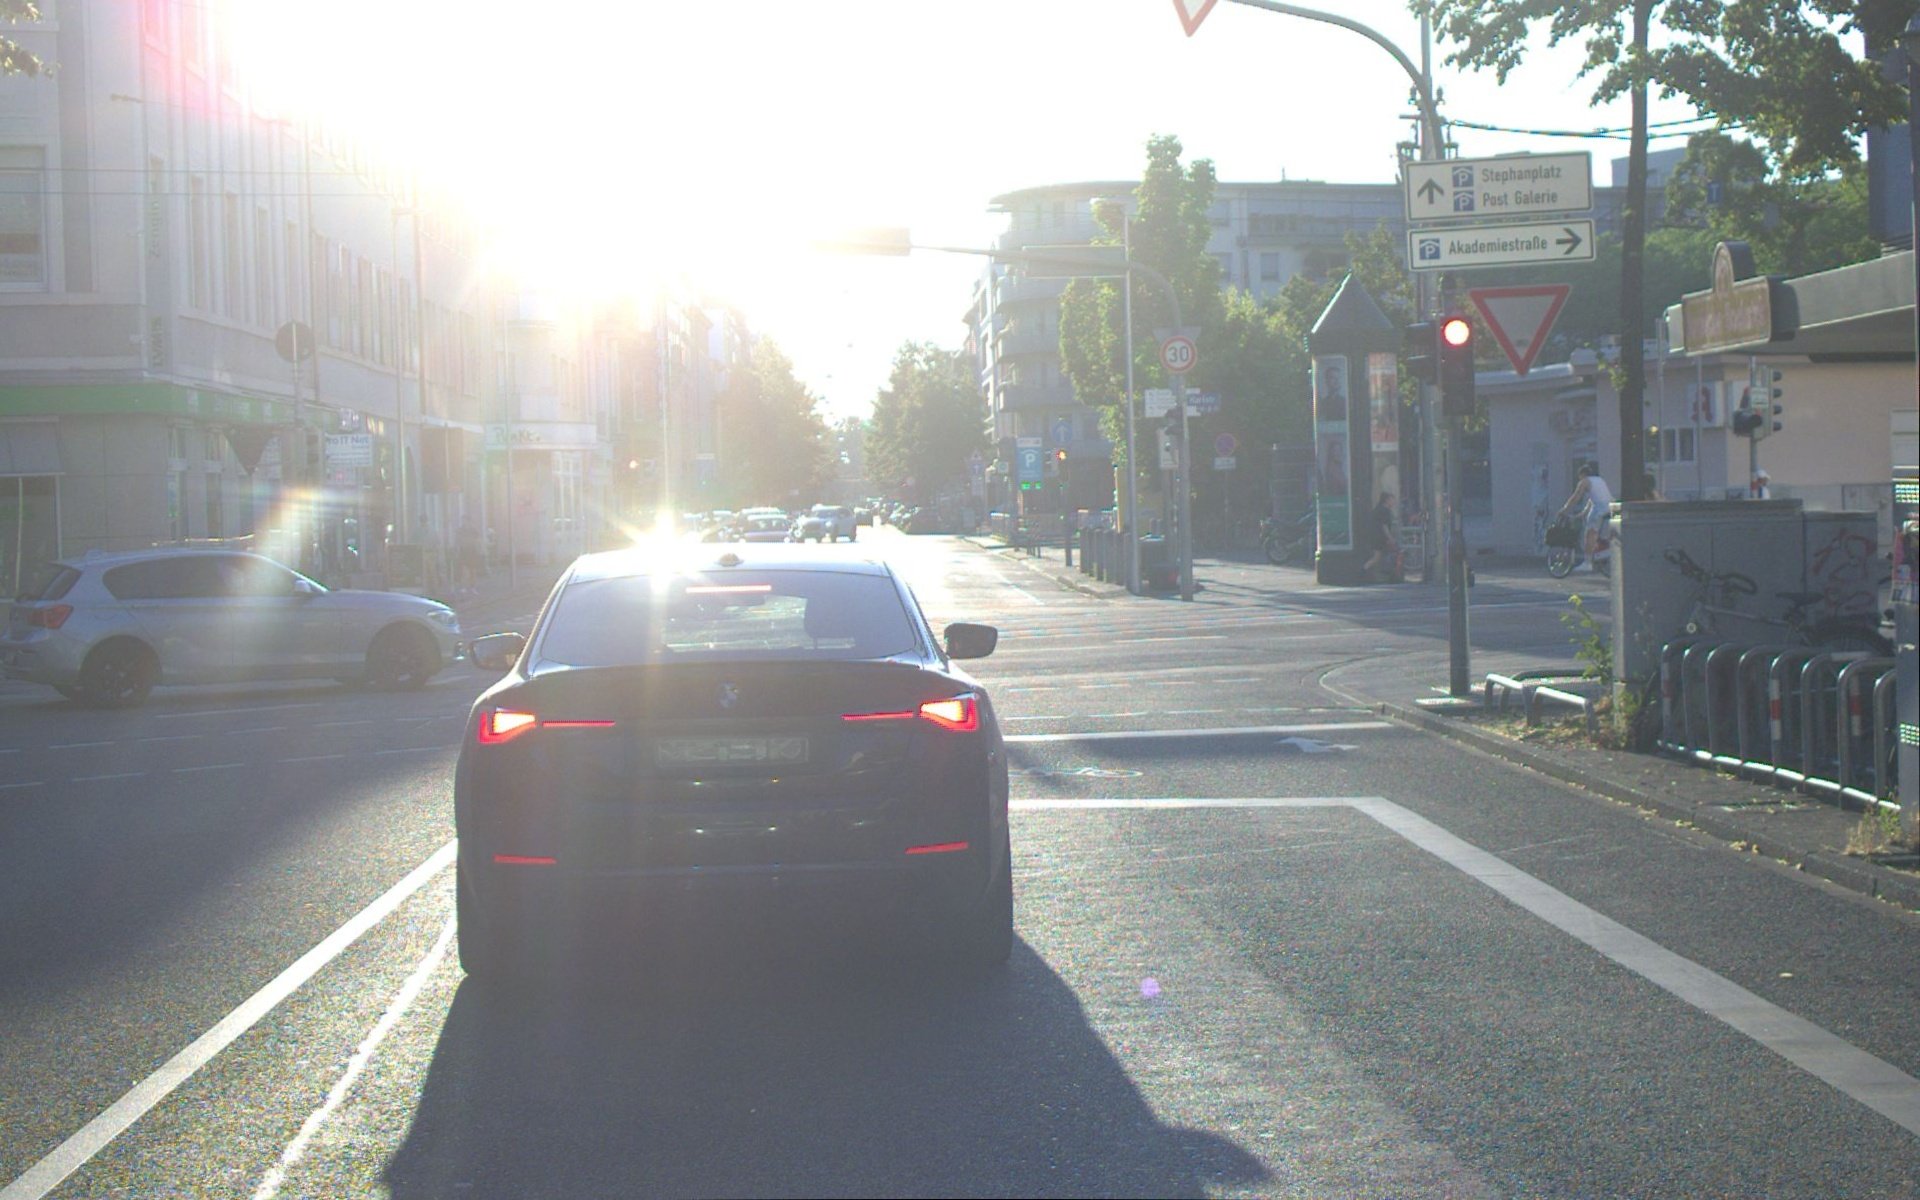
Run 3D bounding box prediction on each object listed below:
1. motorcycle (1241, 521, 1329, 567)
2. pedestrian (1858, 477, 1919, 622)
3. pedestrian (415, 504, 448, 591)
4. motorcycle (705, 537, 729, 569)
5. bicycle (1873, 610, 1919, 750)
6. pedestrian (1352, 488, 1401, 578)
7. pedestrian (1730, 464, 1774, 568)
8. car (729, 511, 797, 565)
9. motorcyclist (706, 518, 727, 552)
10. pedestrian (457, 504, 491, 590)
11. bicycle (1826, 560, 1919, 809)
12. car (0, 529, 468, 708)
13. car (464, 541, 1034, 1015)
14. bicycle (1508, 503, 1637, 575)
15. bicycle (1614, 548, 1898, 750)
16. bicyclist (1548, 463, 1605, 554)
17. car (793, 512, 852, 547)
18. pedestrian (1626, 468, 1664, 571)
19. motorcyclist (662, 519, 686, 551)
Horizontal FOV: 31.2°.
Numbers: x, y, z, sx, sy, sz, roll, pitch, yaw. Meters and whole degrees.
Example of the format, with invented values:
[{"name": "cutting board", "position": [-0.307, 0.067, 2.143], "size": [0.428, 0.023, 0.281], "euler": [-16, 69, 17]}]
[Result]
[{"name": "motorcycle", "position": [6.913, -1.193, 73.248], "size": [1.668, 0.935, 0.856], "euler": [-2, 2, -12]}, {"name": "pedestrian", "position": [12.060, -0.658, 44.285], "size": [0.836, 1.835, 0.678], "euler": [-1, 1, 20]}, {"name": "pedestrian", "position": [-11.478, -1.148, 74.681], "size": [0.643, 1.870, 0.632], "euler": [0, 1, -1]}, {"name": "motorcycle", "position": [-7.171, -1.387, 101.590], "size": [0.575, 0.912, 2.201], "euler": [0, 1, -1]}, {"name": "bicycle", "position": [5.768, 0.471, 20.691], "size": [0.249, 0.793, 1.115], "euler": [0, 1, 1]}, {"name": "pedestrian", "position": [7.121, -1.150, 58.787], "size": [0.732, 1.523, 0.473], "euler": [0, 1, -7]}, {"name": "pedestrian", "position": [13.330, -1.412, 57.848], "size": [0.478, 1.729, 0.531], "euler": [0, 1, -26]}, {"name": "car", "position": [-5.821, -1.864, 102.144], "size": [1.818, 1.514, 4.001], "euler": [-2, 2, -1]}, {"name": "motorcyclist", "position": [-7.183, -1.914, 101.468], "size": [0.575, 0.992, 0.702], "euler": [0, 1, -1]}, {"name": "pedestrian", "position": [-10.584, -1.150, 74.897], "size": [0.676, 1.870, 0.618], "euler": [0, 1, -1]}, {"name": "bicycle", "position": [5.065, 0.417, 17.041], "size": [1.441, 1.216, 0.383], "euler": [0, 1, 1]}, {"name": "car", "position": [-7.092, 0.134, 32.786], "size": [4.306, 1.493, 2.000], "euler": [-2, 2, -26]}, {"name": "car", "position": [-0.729, 0.510, 12.671], "size": [1.736, 1.424, 4.224], "euler": [0, 1, -2]}, {"name": "bicycle", "position": [9.968, -0.989, 56.000], "size": [0.550, 1.155, 2.143], "euler": [-1, 1, -45]}, {"name": "bicycle", "position": [4.792, 0.294, 20.731], "size": [1.613, 1.167, 0.318], "euler": [-1, 1, 1]}, {"name": "bicyclist", "position": [10.030, -1.481, 55.927], "size": [0.550, 1.476, 0.722], "euler": [-1, 1, -45]}, {"name": "car", "position": [-6.381, -3.299, 159.465], "size": [1.818, 1.514, 3.998], "euler": [-1, 2, 11]}, {"name": "pedestrian", "position": [11.587, -1.367, 58.160], "size": [0.442, 1.729, 0.434], "euler": [0, 1, -26]}, {"name": "motorcyclist", "position": [-8.494, -1.934, 102.106], "size": [0.575, 0.912, 2.201], "euler": [0, 1, -1]}]
